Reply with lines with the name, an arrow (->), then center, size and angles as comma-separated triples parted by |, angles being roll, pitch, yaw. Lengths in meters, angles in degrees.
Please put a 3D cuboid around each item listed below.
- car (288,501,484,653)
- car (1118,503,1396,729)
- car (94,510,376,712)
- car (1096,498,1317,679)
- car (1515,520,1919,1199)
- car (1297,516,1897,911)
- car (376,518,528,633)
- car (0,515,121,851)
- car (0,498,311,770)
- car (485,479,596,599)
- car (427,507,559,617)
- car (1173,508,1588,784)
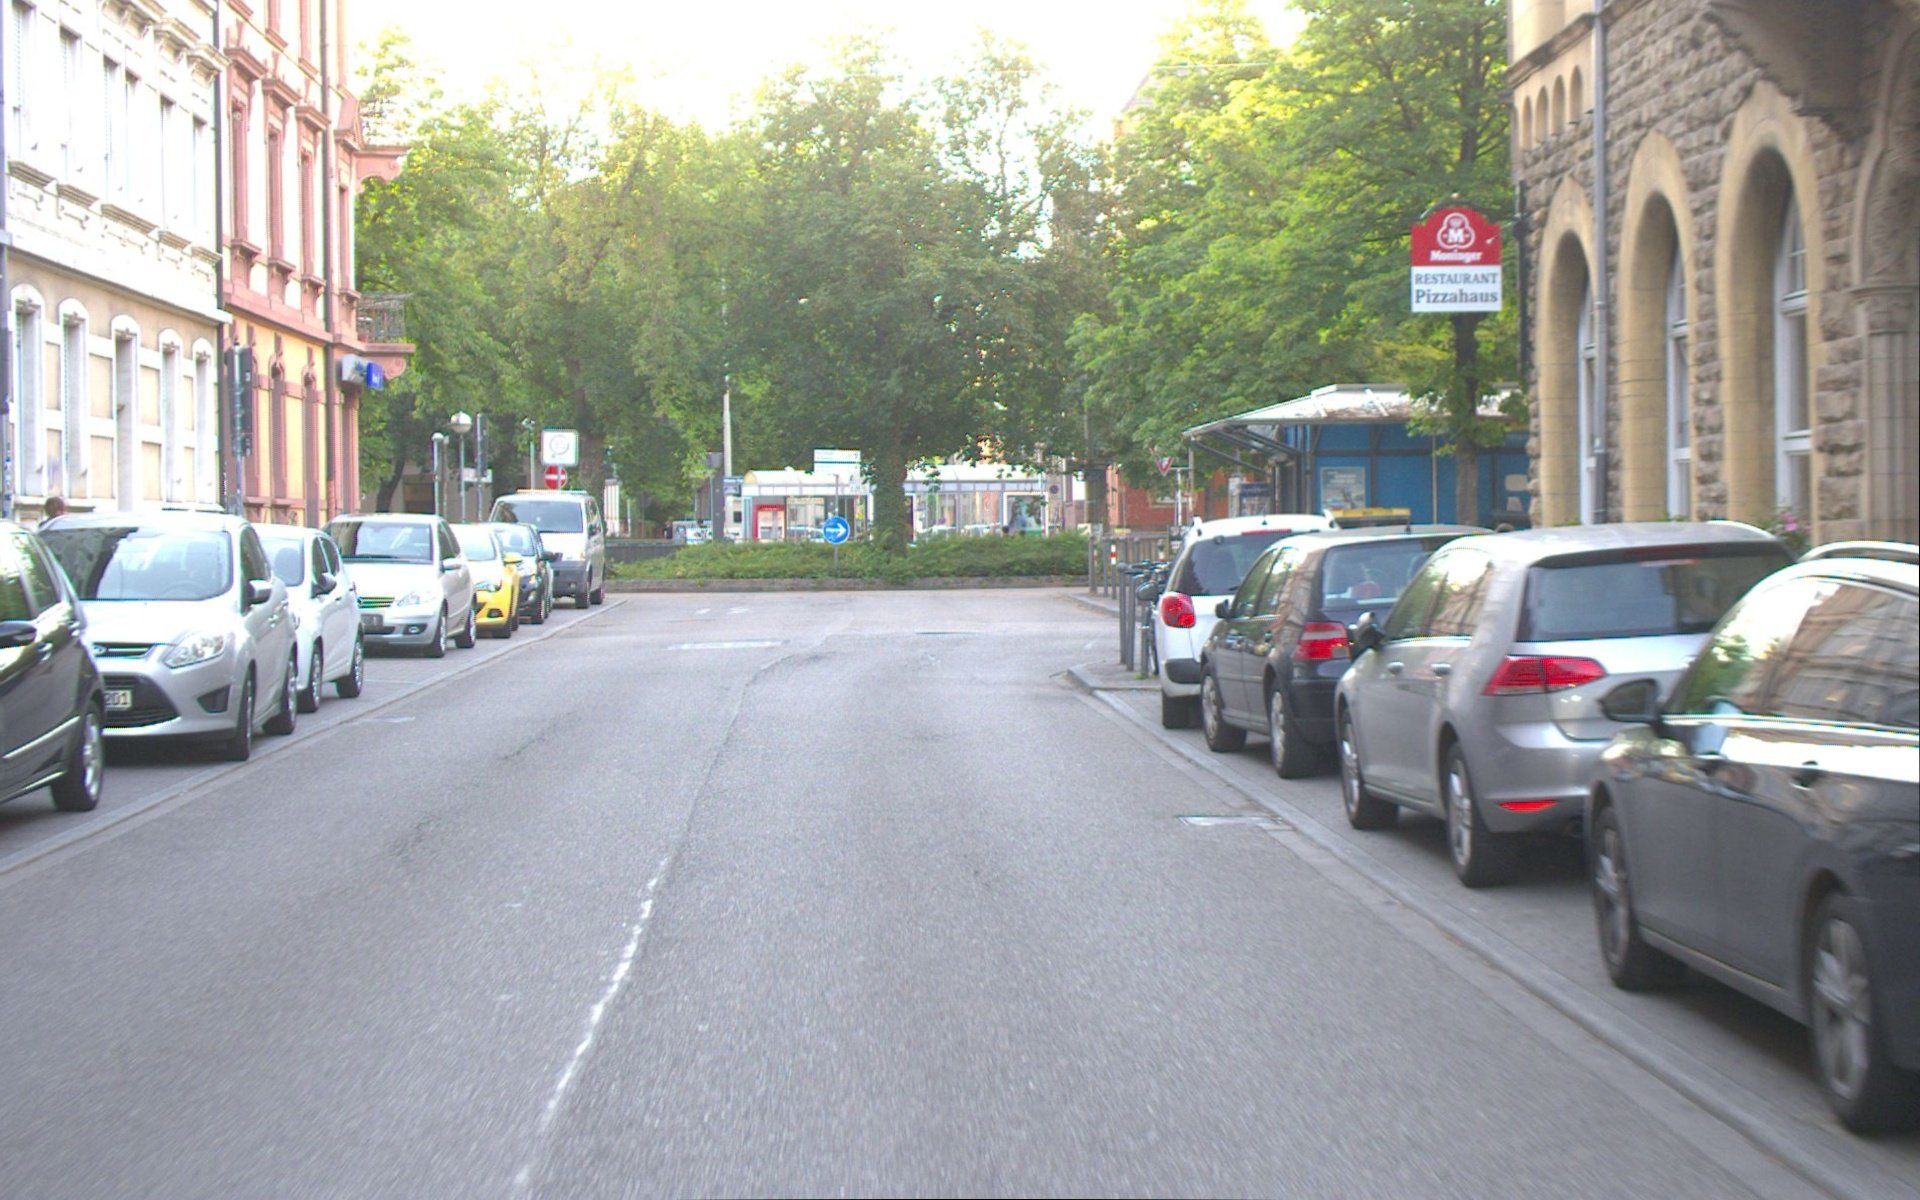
car -> -6.506, -0.294, 39.310 | 1.698, 1.615, 4.022 | 1, 1, -2
car -> 2.191, 0.059, 26.260 | 1.676, 1.496, 3.901 | -3, 2, 0
car -> -5.958, 0.046, 28.609 | 1.698, 1.547, 3.570 | 1, 1, -2
car -> 2.256, -0.154, 32.319 | 1.676, 1.496, 4.018 | -3, 2, 0
car -> 2.850, 0.537, 9.638 | 1.676, 1.424, 4.479 | -4, 2, -1
car -> 2.717, 0.394, 15.641 | 1.676, 1.451, 4.231 | -4, 2, -3
car -> -6.686, -0.360, 45.564 | 1.698, 1.421, 4.023 | 1, 1, -5
car -> -5.352, 0.360, 17.038 | 1.636, 1.560, 3.782 | 1, 1, -3
car -> -5.547, 0.161, 23.214 | 1.844, 1.653, 4.253 | -1, 1, -5
car -> -7.253, -1.063, 59.623 | 1.810, 1.970, 4.187 | 1, 1, -6
car -> -6.957, -0.588, 51.487 | 1.698, 1.547, 4.023 | 1, 1, -5
car -> 2.488, 0.214, 21.240 | 1.676, 1.451, 3.801 | -4, 2, -6
